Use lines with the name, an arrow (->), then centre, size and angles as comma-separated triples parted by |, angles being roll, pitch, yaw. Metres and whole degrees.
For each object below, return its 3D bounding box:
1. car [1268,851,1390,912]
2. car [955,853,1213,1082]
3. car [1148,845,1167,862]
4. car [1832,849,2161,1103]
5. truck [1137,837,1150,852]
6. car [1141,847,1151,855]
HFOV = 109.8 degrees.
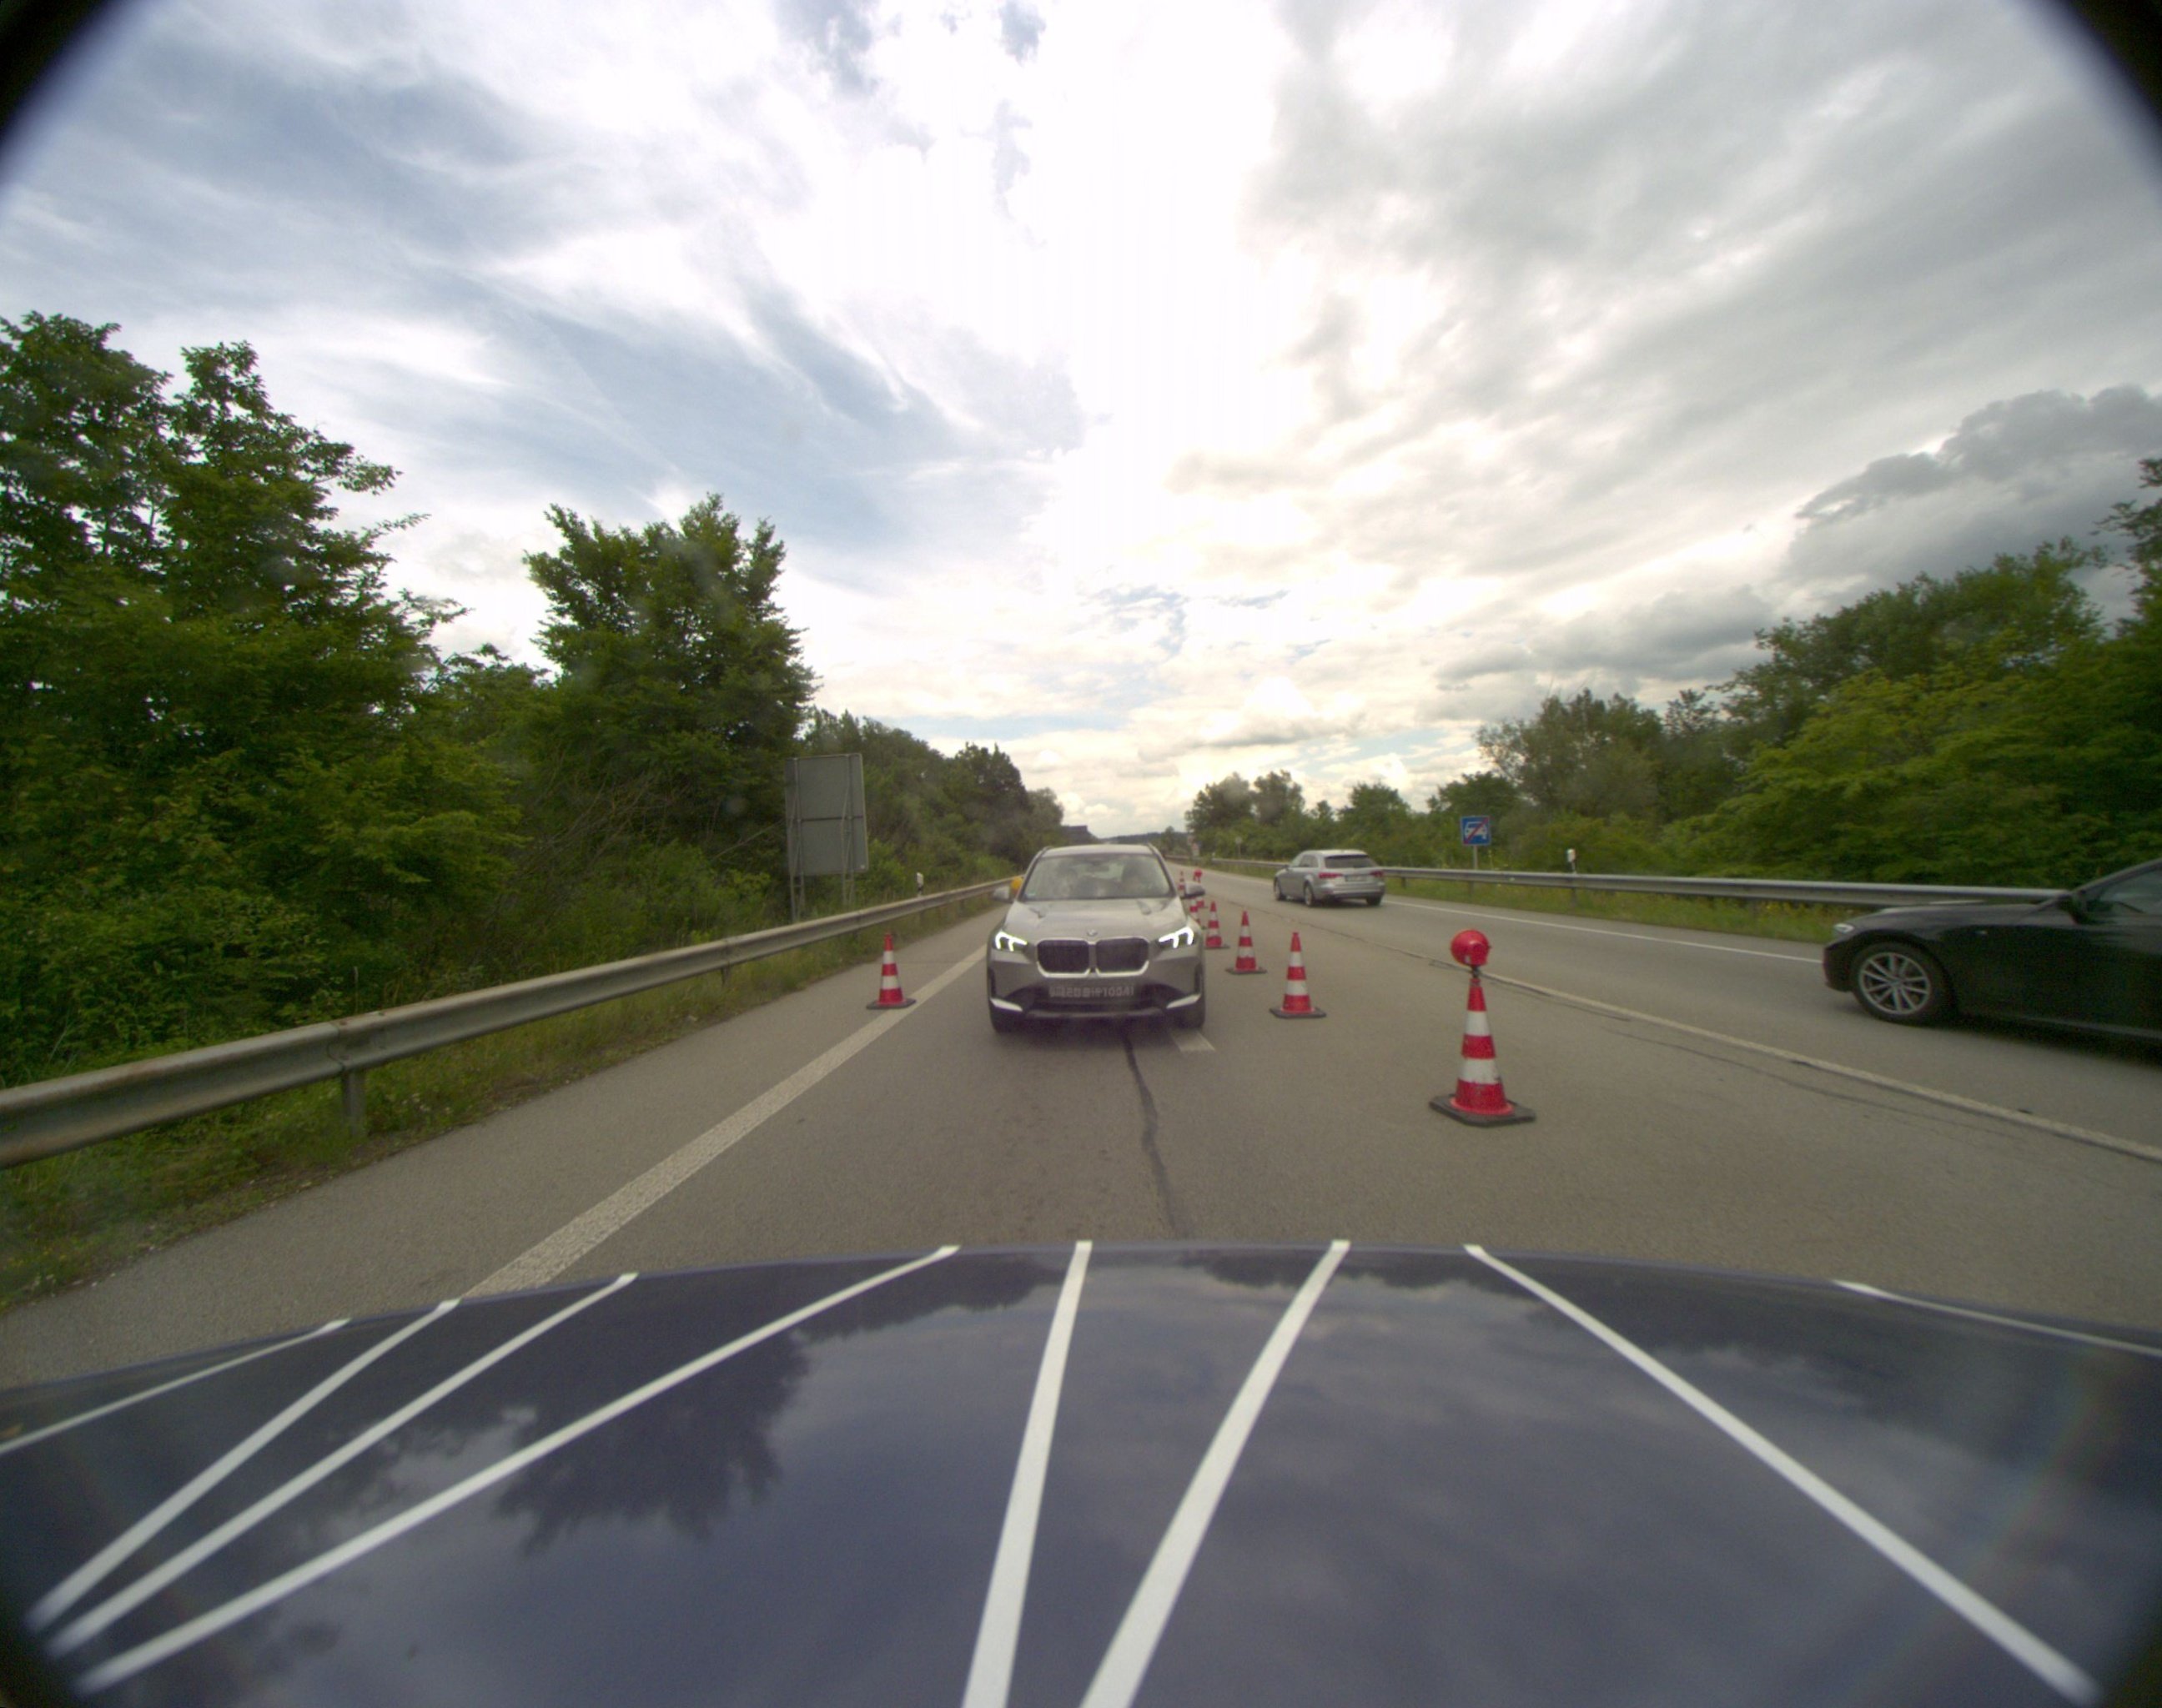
car -> 6.445, 0.648, 20.277 | 1.683, 1.393, 4.373 | -2, 0, -1
car -> 0.142, 0.834, 7.728 | 1.817, 1.598, 4.434 | -2, 0, 3
car -> 9.538, -0.077, 94.631 | 2.034, 1.976, 5.316 | -2, 0, 3
car -> 7.151, 0.708, 4.097 | 1.714, 1.428, 4.334 | -2, 0, -4
truck -> 16.272, -2.495, 197.981 | 3.113, 3.682, 9.544 | -2, 0, 3
car -> 14.250, -0.612, 167.368 | 1.929, 1.597, 4.533 | -2, 0, 3
